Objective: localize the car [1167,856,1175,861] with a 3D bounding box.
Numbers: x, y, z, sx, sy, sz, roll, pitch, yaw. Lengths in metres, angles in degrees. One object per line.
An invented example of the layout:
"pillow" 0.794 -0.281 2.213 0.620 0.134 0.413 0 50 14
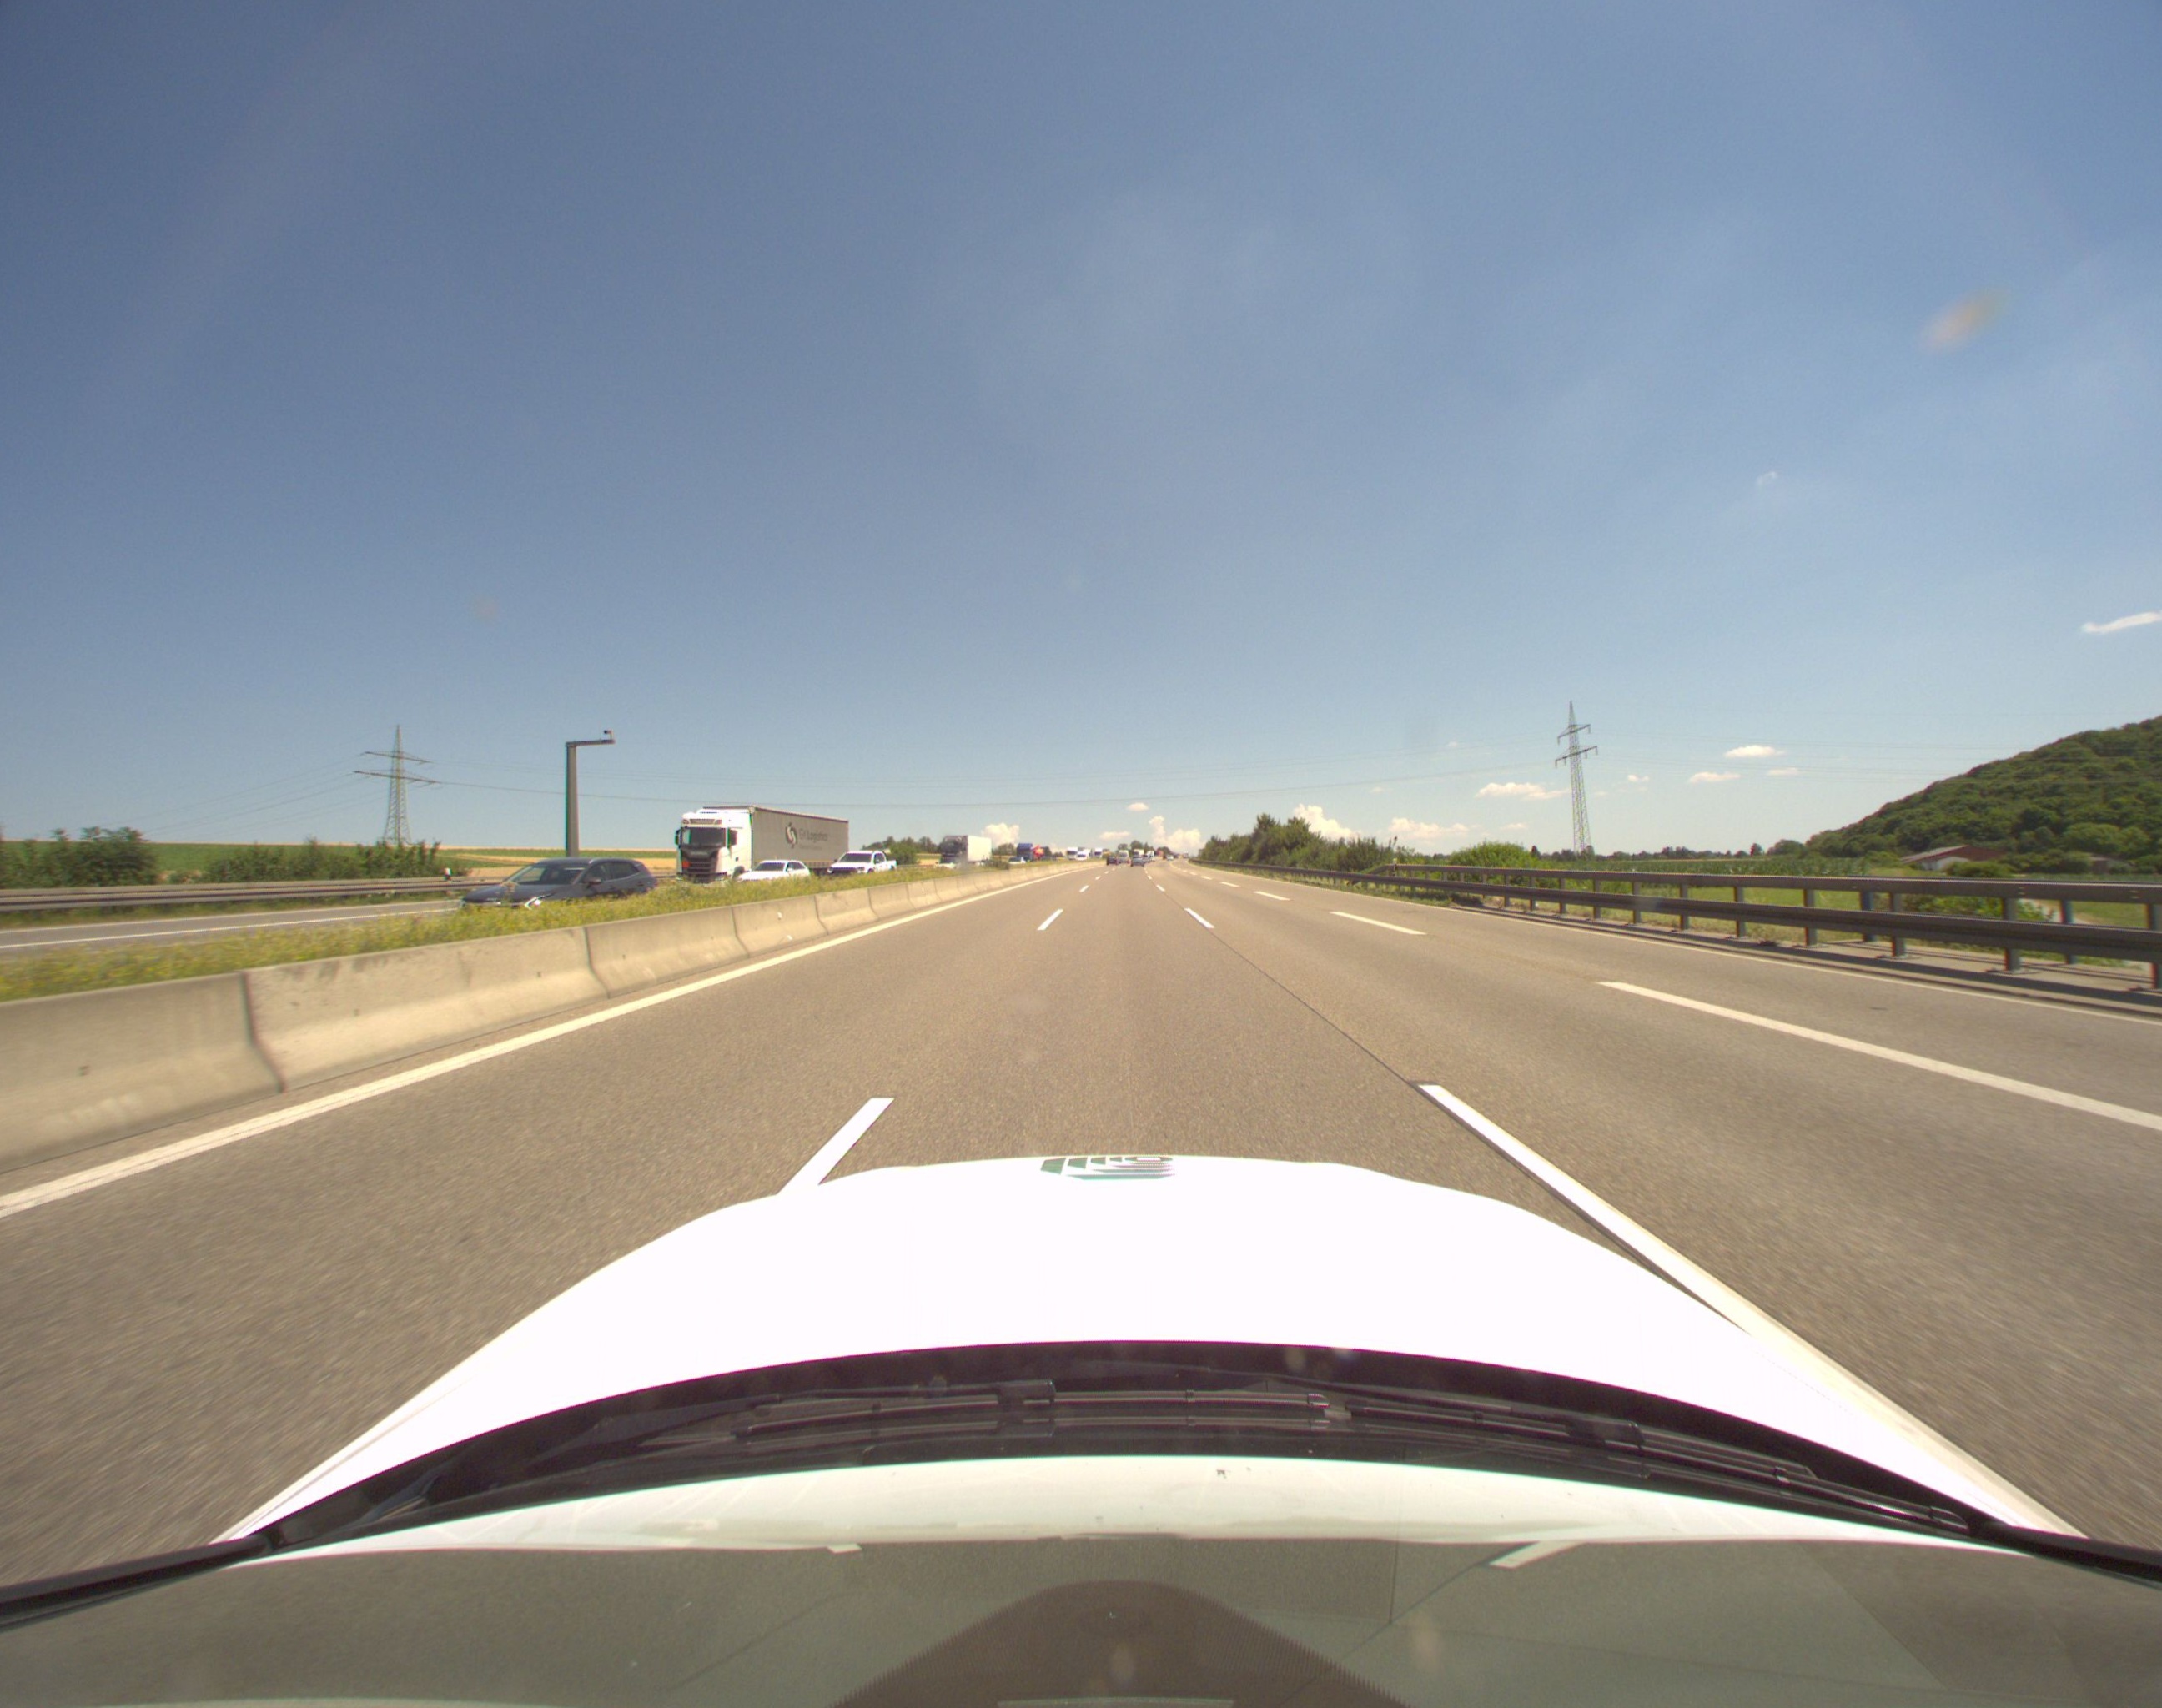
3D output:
"car" 25.981 1.288 235.527 1.890 1.442 4.012 0 0 11

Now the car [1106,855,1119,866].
"car" 5.140 1.056 133.763 1.838 1.861 4.212 0 0 6

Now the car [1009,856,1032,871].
"car" -6.427 0.959 86.805 1.871 1.571 4.593 0 0 3

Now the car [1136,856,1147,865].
"car" 11.291 1.157 152.662 1.985 1.585 4.003 -1 -2 4

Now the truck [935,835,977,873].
"truck" -14.041 0.006 92.149 3.212 4.206 7.134 0 0 4

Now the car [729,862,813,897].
"car" -13.448 1.065 35.590 1.836 1.460 4.492 0 0 1

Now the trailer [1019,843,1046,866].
"trailer" -8.817 0.111 149.066 2.825 3.958 13.748 0 -1 5

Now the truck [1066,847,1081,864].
"truck" -1.906 0.421 205.432 2.837 4.027 6.528 0 -1 8

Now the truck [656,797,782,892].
"truck" -17.640 -0.399 40.216 3.118 4.328 6.153 0 -1 4

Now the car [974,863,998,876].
"car" -10.414 1.680 89.202 1.858 1.456 4.576 0 -1 3

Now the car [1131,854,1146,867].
"car" 8.084 0.951 114.538 1.984 1.750 4.004 0 -3 5

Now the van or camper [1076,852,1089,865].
"van or camper" 0.377 0.922 165.660 2.058 2.464 7.529 -2 -1 4

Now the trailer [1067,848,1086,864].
"trailer" -1.091 0.504 211.540 2.778 4.105 14.036 0 -1 8

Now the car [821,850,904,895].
"car" -9.824 0.822 37.172 1.985 1.904 5.680 0 -1 3

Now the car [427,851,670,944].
"car" -10.713 0.790 16.894 1.986 1.673 4.478 0 0 1

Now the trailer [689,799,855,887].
"trailer" -17.177 -0.464 47.243 3.109 4.324 14.560 0 -1 4

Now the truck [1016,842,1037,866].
"truck" -9.475 0.011 142.215 2.763 3.938 6.145 0 0 5

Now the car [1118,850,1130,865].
"car" 8.312 0.708 157.105 2.169 2.625 4.678 0 -3 5

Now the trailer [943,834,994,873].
"trailer" -13.470 -0.062 99.320 3.227 4.387 14.044 0 0 4

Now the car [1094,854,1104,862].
"car" 5.641 1.166 256.547 2.318 2.558 5.617 0 1 7

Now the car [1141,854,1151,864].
"car" 13.716 1.132 172.355 1.983 1.904 4.007 -1 -3 7

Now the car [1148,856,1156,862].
"car" 17.891 1.193 205.903 1.983 1.552 4.007 1 0 6

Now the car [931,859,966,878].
"car" -11.463 1.215 70.671 1.985 1.587 4.593 -1 -1 3
